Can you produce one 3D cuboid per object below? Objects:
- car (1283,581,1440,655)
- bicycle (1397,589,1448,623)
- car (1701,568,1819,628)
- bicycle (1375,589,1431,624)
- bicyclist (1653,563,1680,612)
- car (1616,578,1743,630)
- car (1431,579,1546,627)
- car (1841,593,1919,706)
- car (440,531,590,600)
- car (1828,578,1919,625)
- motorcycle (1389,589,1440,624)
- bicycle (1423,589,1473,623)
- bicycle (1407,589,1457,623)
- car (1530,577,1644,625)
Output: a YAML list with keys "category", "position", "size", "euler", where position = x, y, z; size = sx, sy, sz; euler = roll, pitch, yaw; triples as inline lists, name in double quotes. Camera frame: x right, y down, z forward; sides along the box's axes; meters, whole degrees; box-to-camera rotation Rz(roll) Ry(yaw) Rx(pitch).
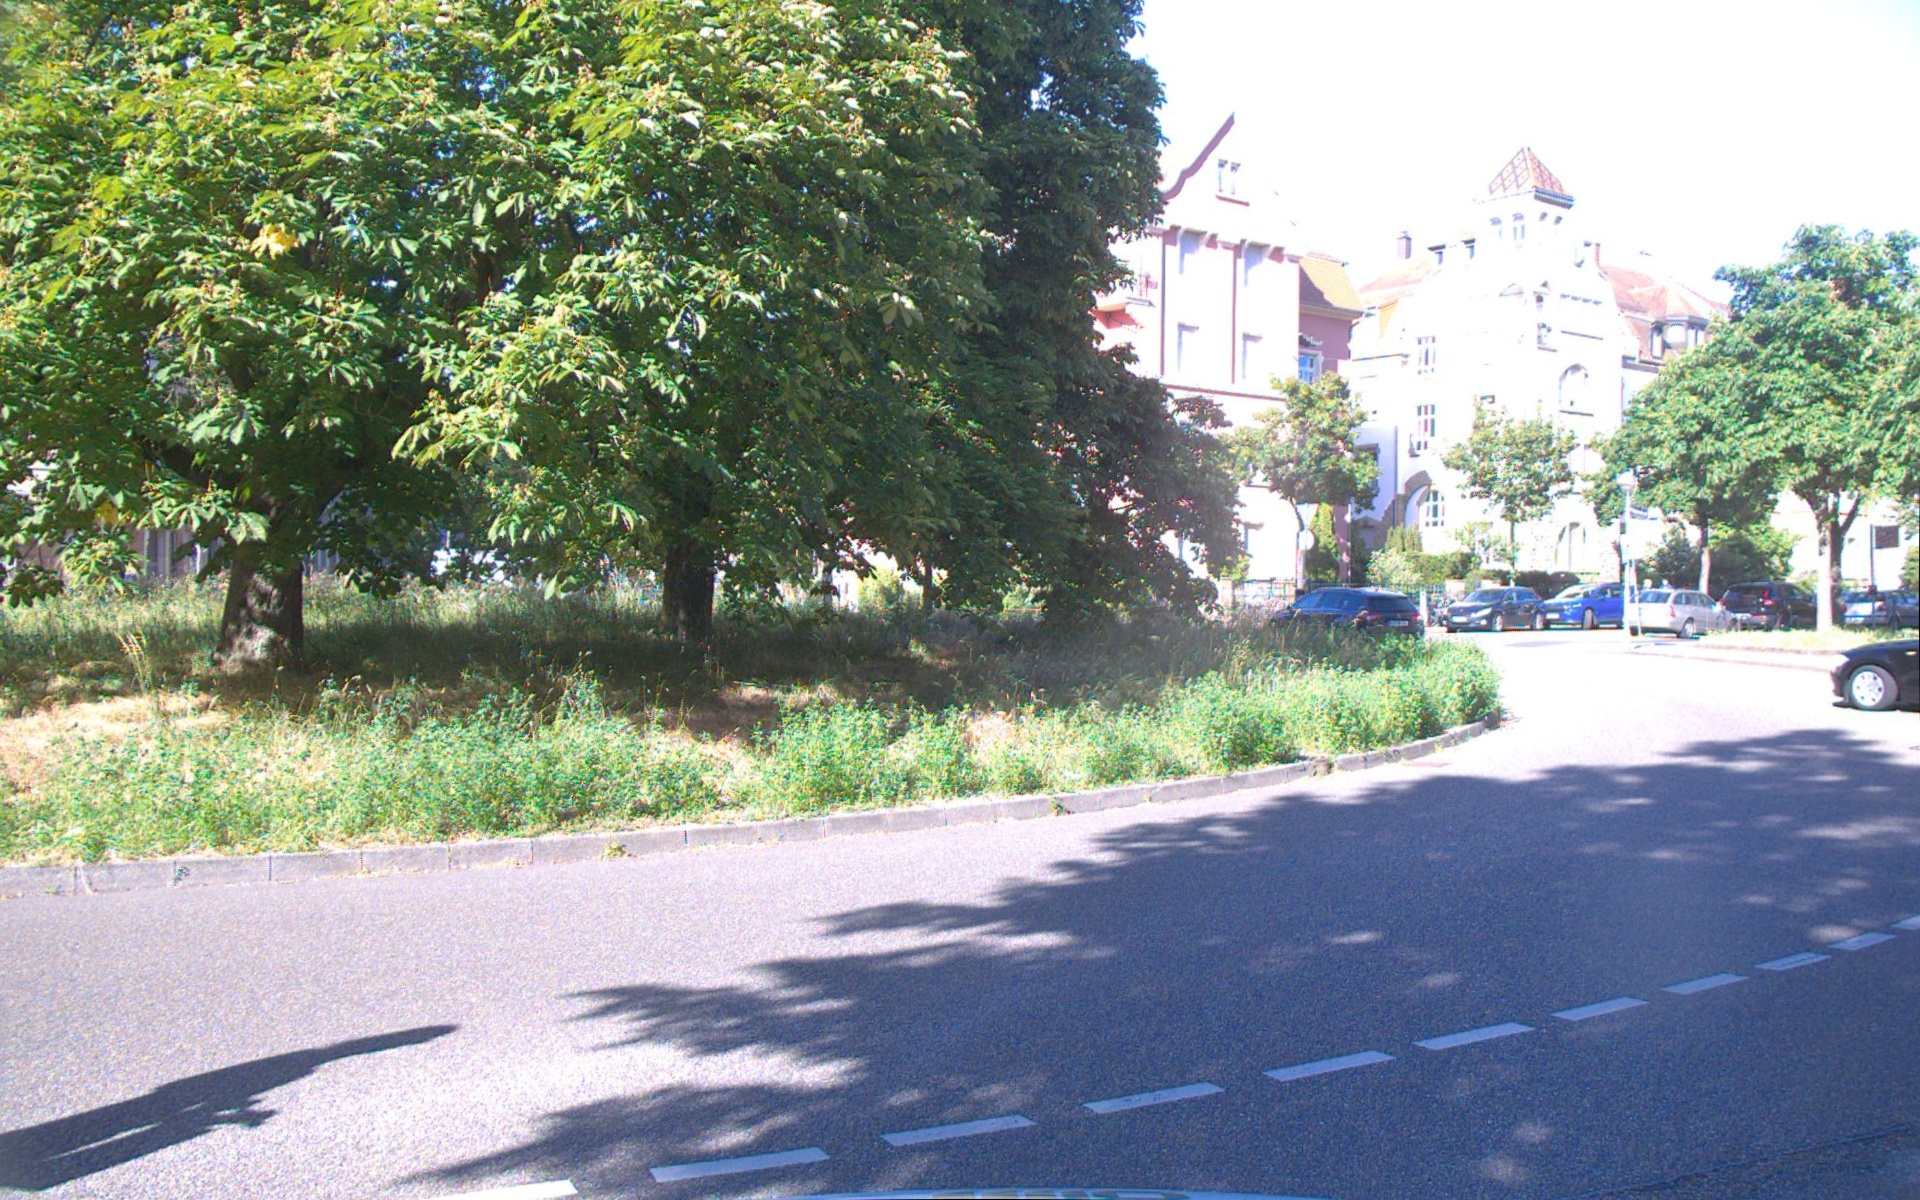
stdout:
- category: "car"
  position: [8.911, 0.363, 37.039]
  size: [1.792, 1.559, 3.986]
  euler: [0, 1, -14]
- category: "bicycle"
  position: [16.279, 0.208, 58.237]
  size: [0.497, 1.126, 1.699]
  euler: [-1, 3, -43]
- category: "car"
  position: [24.690, -0.089, 50.995]
  size: [4.302, 1.758, 1.782]
  euler: [0, 1, -42]
- category: "bicycle"
  position: [15.371, 0.205, 57.413]
  size: [1.795, 1.126, 0.499]
  euler: [3, 2, 38]
- category: "bicyclist"
  position: [25.187, -0.449, 58.942]
  size: [0.715, 1.744, 0.637]
  euler: [1, -1, -37]
- category: "car"
  position: [20.944, 0.099, 48.081]
  size: [4.302, 1.440, 1.782]
  euler: [0, 1, -42]
- category: "car"
  position: [17.754, 0.102, 55.458]
  size: [4.303, 1.509, 1.781]
  euler: [0, -2, -43]
- category: "car"
  position: [13.687, 0.651, 21.111]
  size: [1.852, 1.444, 3.946]
  euler: [-1, 1, -38]
- category: "car"
  position: [-18.041, -1.401, 66.913]
  size: [6.241, 2.645, 2.098]
  euler: [2, 0, 32]
- category: "car"
  position: [31.264, 0.035, 55.719]
  size: [4.287, 1.499, 1.788]
  euler: [0, 1, -35]
- category: "motorcycle"
  position: [15.893, 0.218, 57.832]
  size: [0.497, 1.126, 1.699]
  euler: [-1, 3, -43]
- category: "bicycle"
  position: [17.514, 0.197, 59.354]
  size: [0.511, 1.126, 1.702]
  euler: [0, 3, -40]
- category: "bicycle"
  position: [16.755, 0.206, 58.708]
  size: [0.496, 1.126, 1.702]
  euler: [0, 3, -40]
- category: "car"
  position: [22.325, 0.026, 58.811]
  size: [4.354, 1.589, 1.785]
  euler: [-1, -1, -38]
